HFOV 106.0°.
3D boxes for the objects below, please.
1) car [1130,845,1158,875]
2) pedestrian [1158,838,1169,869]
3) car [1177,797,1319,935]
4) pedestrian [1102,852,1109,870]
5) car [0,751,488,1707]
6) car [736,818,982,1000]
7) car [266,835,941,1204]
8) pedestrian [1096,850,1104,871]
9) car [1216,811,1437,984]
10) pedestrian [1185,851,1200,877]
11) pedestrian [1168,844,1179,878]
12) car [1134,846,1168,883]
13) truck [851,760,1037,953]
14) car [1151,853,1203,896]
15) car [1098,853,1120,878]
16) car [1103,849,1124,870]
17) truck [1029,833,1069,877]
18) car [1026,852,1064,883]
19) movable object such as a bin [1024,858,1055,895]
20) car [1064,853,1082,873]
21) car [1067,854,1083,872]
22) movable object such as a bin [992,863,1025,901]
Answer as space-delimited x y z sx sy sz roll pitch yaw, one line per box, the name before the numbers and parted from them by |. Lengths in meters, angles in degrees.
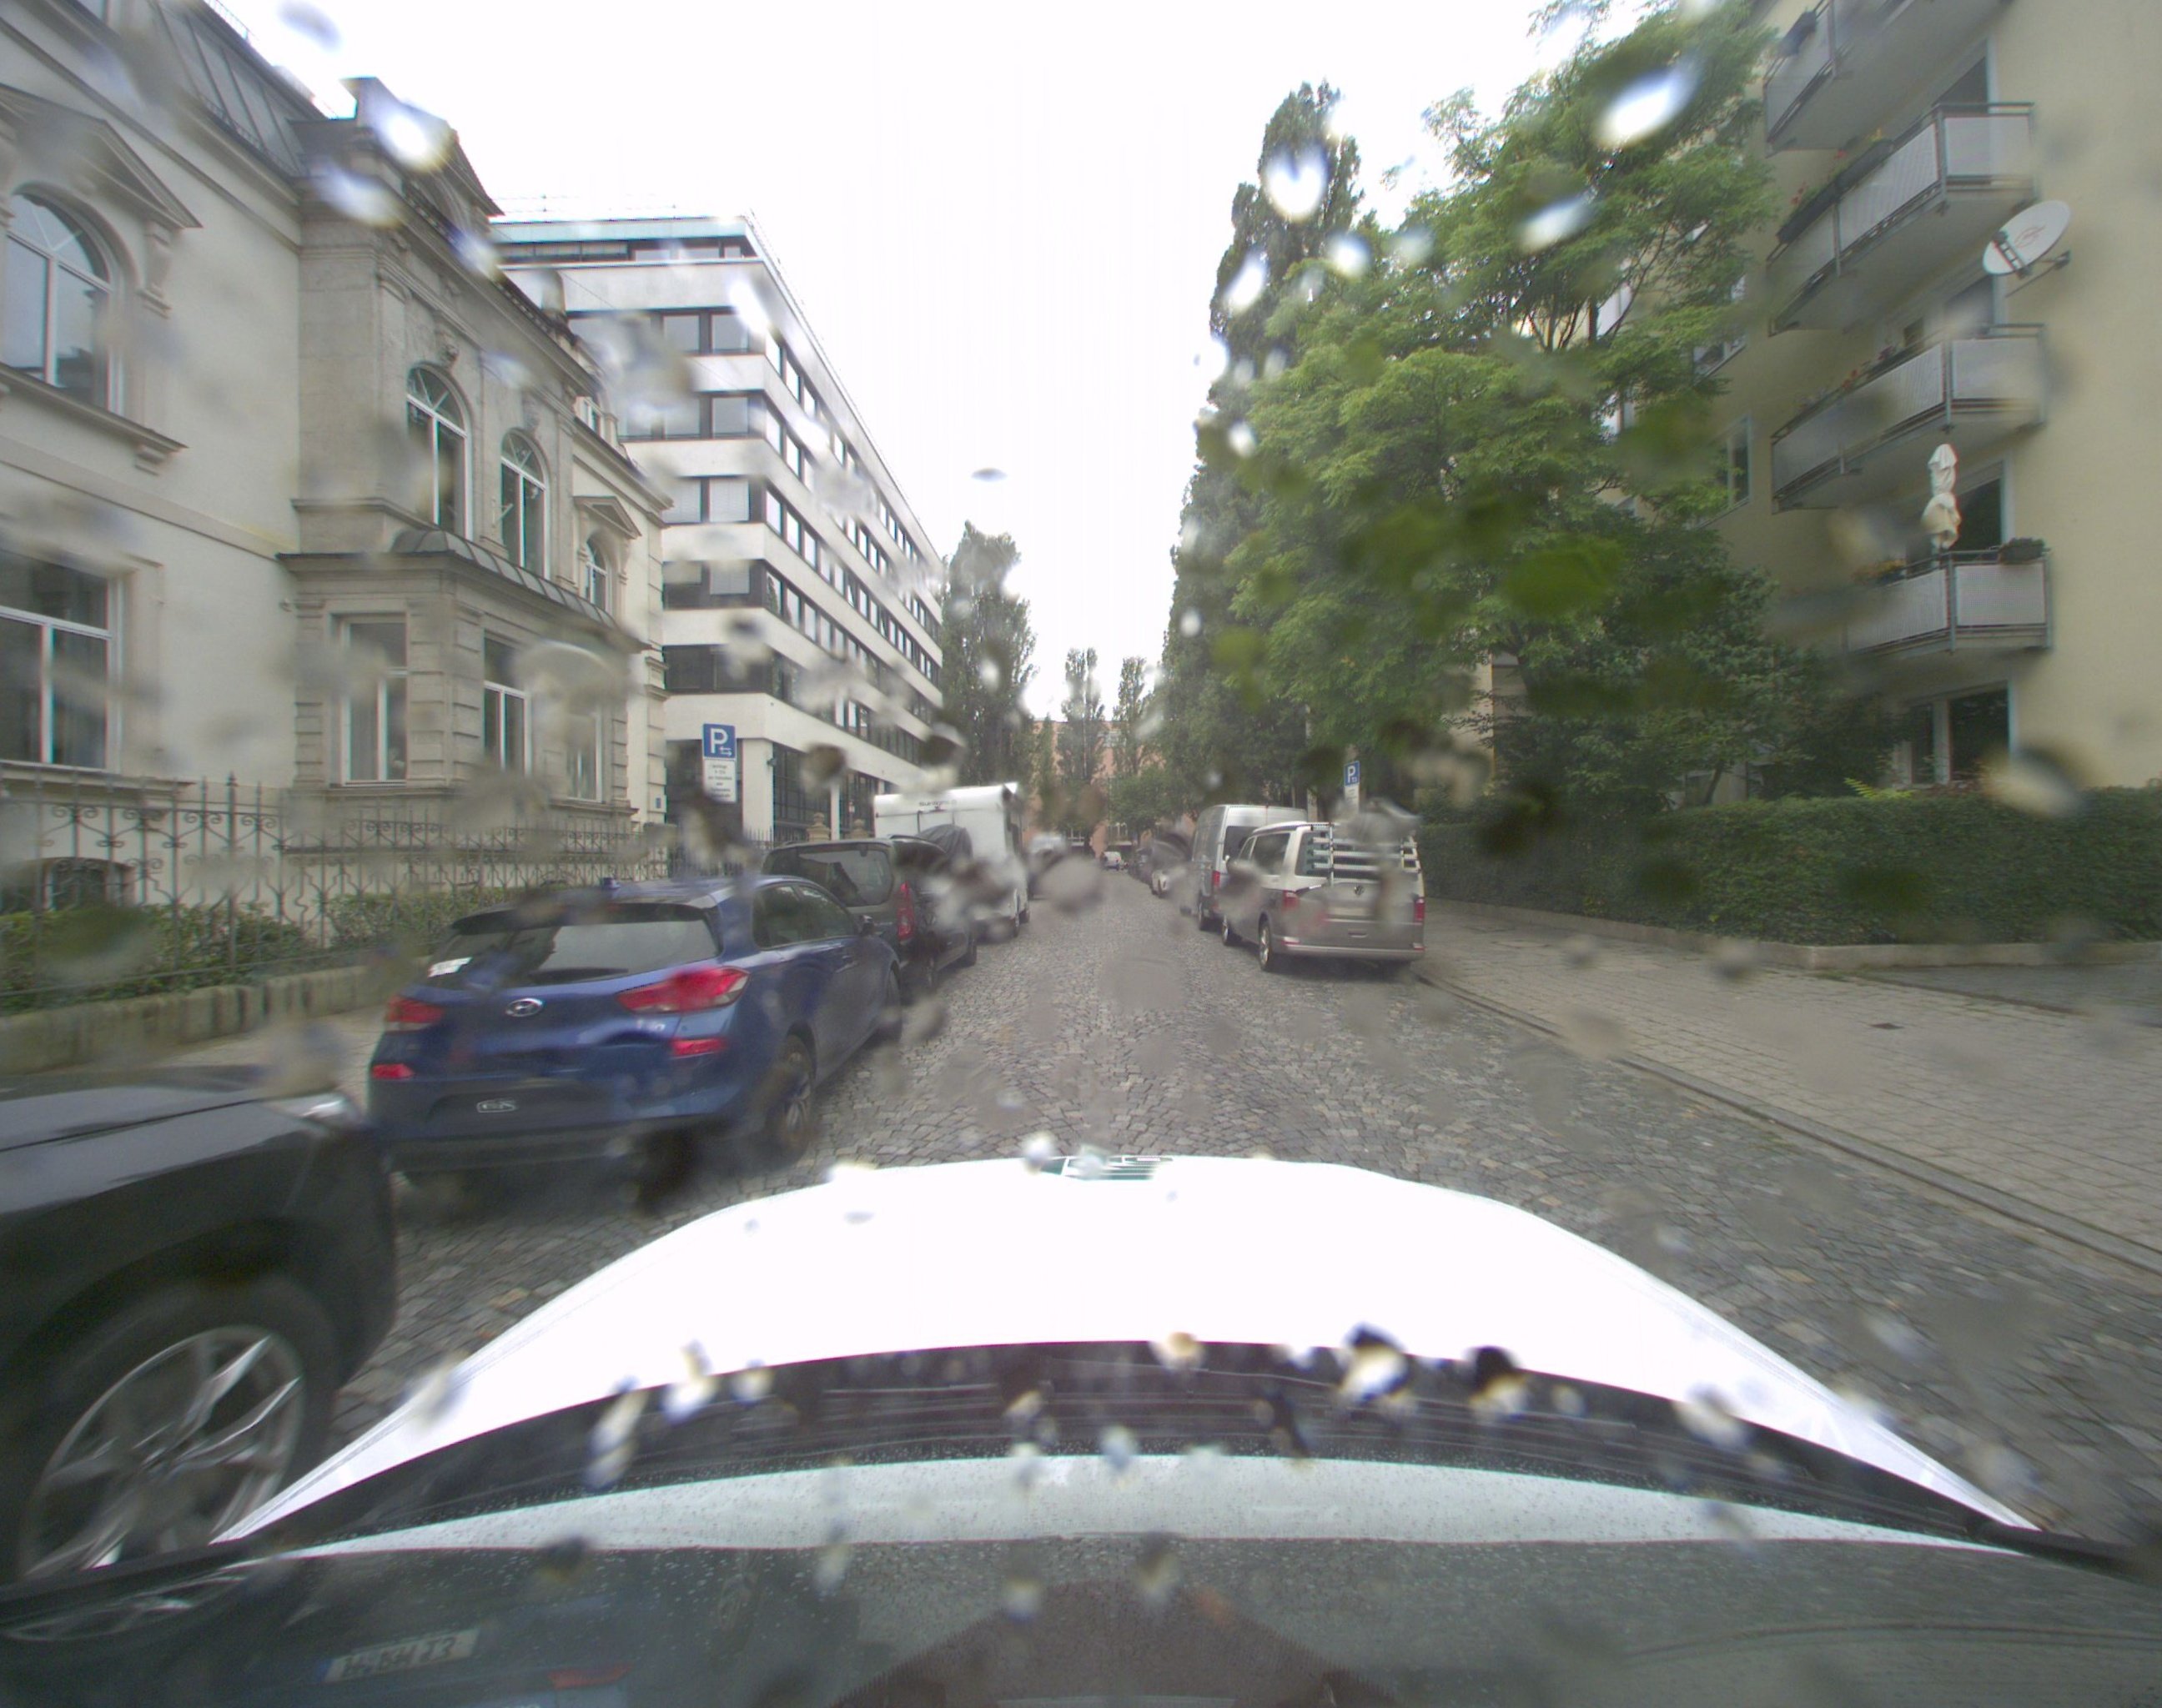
car | 4.341 0.431 56.648 1.860 1.961 4.003 -1 -1 3
pedestrian | 6.527 -0.074 64.486 0.708 2.425 0.814 -2 0 3
car | 3.394 0.211 17.717 1.888 2.426 5.612 3 0 1
pedestrian | 2.265 0.671 75.556 0.685 1.687 0.500 0 -1 3
car | -2.627 0.685 0.145 1.767 1.718 4.391 0 -1 1
car | -2.445 0.541 10.150 1.888 1.751 4.167 -1 0 0
car | -2.247 0.679 5.279 1.933 1.459 4.058 0 -1 0
pedestrian | 1.730 0.575 74.523 0.722 1.910 0.641 0 -1 3
car | 3.281 0.531 11.963 1.794 1.949 4.860 2 -1 1
pedestrian | 7.425 0.653 54.274 0.789 1.719 0.854 0 -1 -4
pedestrian | 6.163 0.467 54.376 0.708 2.191 0.814 0 -1 3
car | 3.344 0.495 39.239 1.465 1.706 3.119 0 -1 1
truck | -2.397 0.024 16.446 2.500 3.031 6.384 -2 0 0
car | 3.534 0.742 30.373 1.594 1.486 3.479 0 -1 1
car | 1.957 0.776 56.507 1.465 1.706 3.119 0 -1 1
car | 3.185 0.548 79.948 1.988 1.936 4.003 -1 -1 3
truck | -1.727 0.096 45.554 1.986 2.347 4.069 0 -1 1
car | -1.797 0.675 41.028 1.656 1.455 3.548 0 -1 1
movable object such as a bin | -1.520 0.817 30.171 1.060 1.363 1.290 0 -1 1
car | -0.635 0.720 66.087 1.286 1.540 3.119 0 -1 1
car | -0.547 0.790 70.979 1.272 1.541 3.119 0 -1 1
movable object such as a bin | -2.625 1.003 29.617 1.069 1.363 1.272 0 -1 0
